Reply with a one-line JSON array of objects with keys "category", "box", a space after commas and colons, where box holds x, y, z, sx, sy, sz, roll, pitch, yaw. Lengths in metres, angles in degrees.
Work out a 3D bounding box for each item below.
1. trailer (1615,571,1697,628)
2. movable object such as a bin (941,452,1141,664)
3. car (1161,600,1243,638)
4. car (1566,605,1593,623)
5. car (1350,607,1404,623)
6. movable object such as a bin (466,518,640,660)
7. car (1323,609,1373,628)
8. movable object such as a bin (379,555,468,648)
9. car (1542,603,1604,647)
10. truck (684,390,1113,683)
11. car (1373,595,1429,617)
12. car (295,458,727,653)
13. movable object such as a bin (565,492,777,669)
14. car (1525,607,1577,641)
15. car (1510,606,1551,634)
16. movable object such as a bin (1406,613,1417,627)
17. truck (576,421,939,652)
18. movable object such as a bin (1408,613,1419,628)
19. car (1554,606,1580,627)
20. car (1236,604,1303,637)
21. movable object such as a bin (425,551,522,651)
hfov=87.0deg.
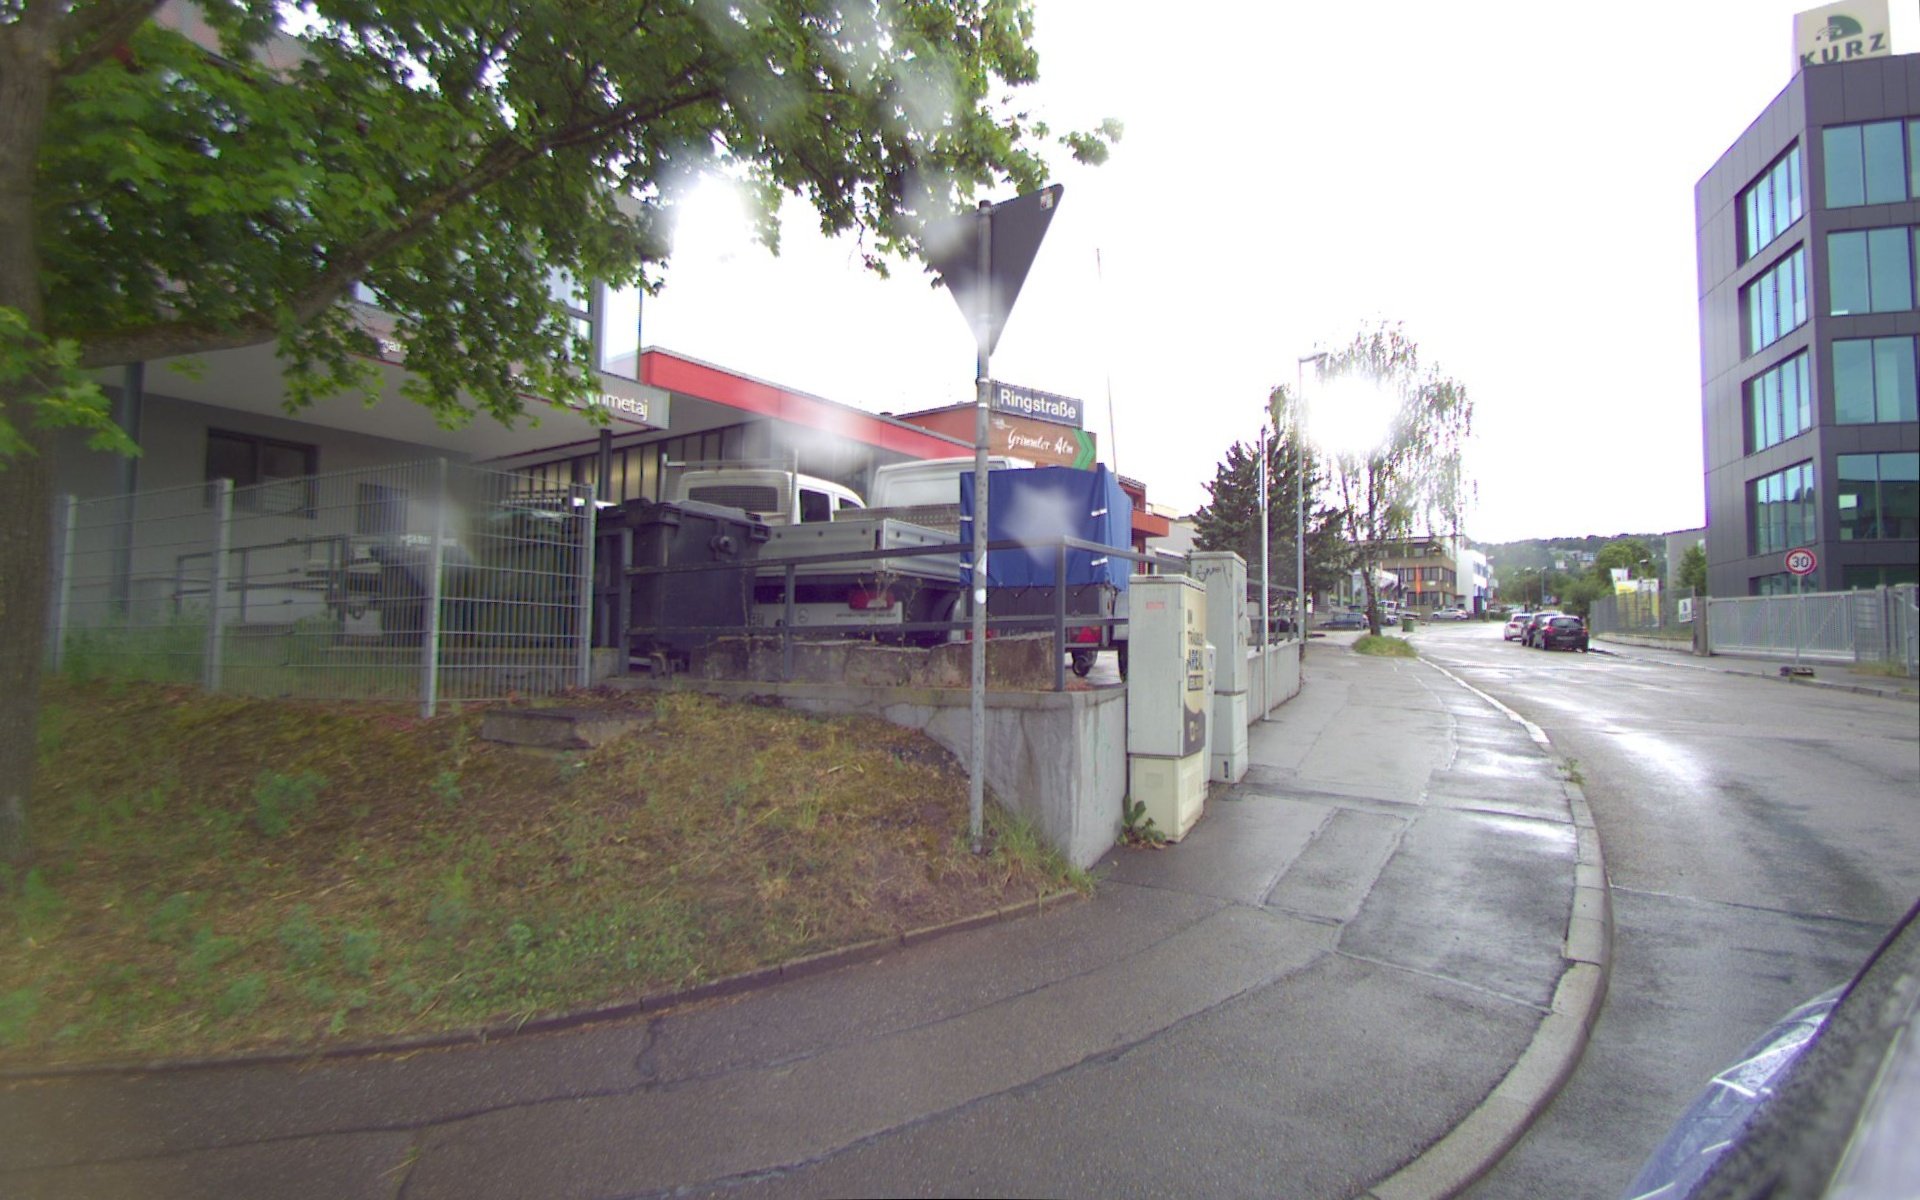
[{"category": "trailer", "box": [52.853, -0.032, 76.952, 2.338, 4.141, 4.709, 0, -1, -16]}, {"category": "movable object such as a bin", "box": [0.738, -0.298, 8.359, 1.293, 1.519, 1.848, 0, -1, 17]}, {"category": "car", "box": [11.218, 0.875, 46.741, 1.991, 1.599, 4.448, -3, -2, 38]}, {"category": "car", "box": [70.461, 1.617, 115.139, 1.992, 2.039, 3.940, 0, -1, 41]}, {"category": "car", "box": [41.273, 1.468, 100.170, 4.597, 1.516, 1.916, 0, -1, 36]}, {"category": "movable object such as a bin", "box": [-3.287, -0.080, 8.183, 1.046, 1.056, 0.873, 0, -1, 34]}, {"category": "car", "box": [32.842, 1.535, 85.620, 3.725, 1.560, 1.611, 0, -1, 34]}, {"category": "movable object such as a bin", "box": [-4.884, 0.011, 9.218, 0.519, 0.812, 0.533, 0, -1, 32]}, {"category": "car", "box": [26.366, 1.037, 43.617, 1.725, 1.820, 3.927, 0, -1, 23]}, {"category": "truck", "box": [-0.217, -0.472, 10.747, 2.091, 2.242, 5.601, 0, -1, 26]}, {"category": "car", "box": [46.885, 0.657, 107.598, 5.128, 2.323, 2.172, -1, -1, 38]}, {"category": "car", "box": [-5.501, -0.449, 13.175, 2.046, 2.039, 4.885, 0, -1, 30]}, {"category": "movable object such as a bin", "box": [-2.118, -0.129, 7.468, 1.133, 1.177, 1.015, 0, -1, 32]}, {"category": "car", "box": [28.305, 1.129, 48.547, 1.619, 1.578, 4.051, 0, -1, 23]}, {"category": "car", "box": [32.981, 1.156, 58.625, 1.722, 1.555, 4.213, -1, -1, 25]}, {"category": "movable object such as a bin", "box": [34.106, 1.512, 76.466, 0.730, 1.104, 0.588, 0, -1, 30]}, {"category": "truck", "box": [-2.293, -0.636, 13.011, 2.226, 2.372, 4.796, 0, -1, 24]}, {"category": "movable object such as a bin", "box": [34.730, 1.545, 77.522, 0.730, 1.104, 0.588, 0, -1, 30]}, {"category": "car", "box": [58.879, 1.596, 98.231, 1.982, 1.938, 3.959, 0, -1, 29]}, {"category": "car", "box": [19.017, 1.257, 62.230, 3.425, 1.519, 1.596, -11, -8, 38]}, {"category": "movable object such as a bin", "box": [-4.210, 0.011, 8.765, 0.562, 0.828, 0.533, 0, -1, 32]}]
